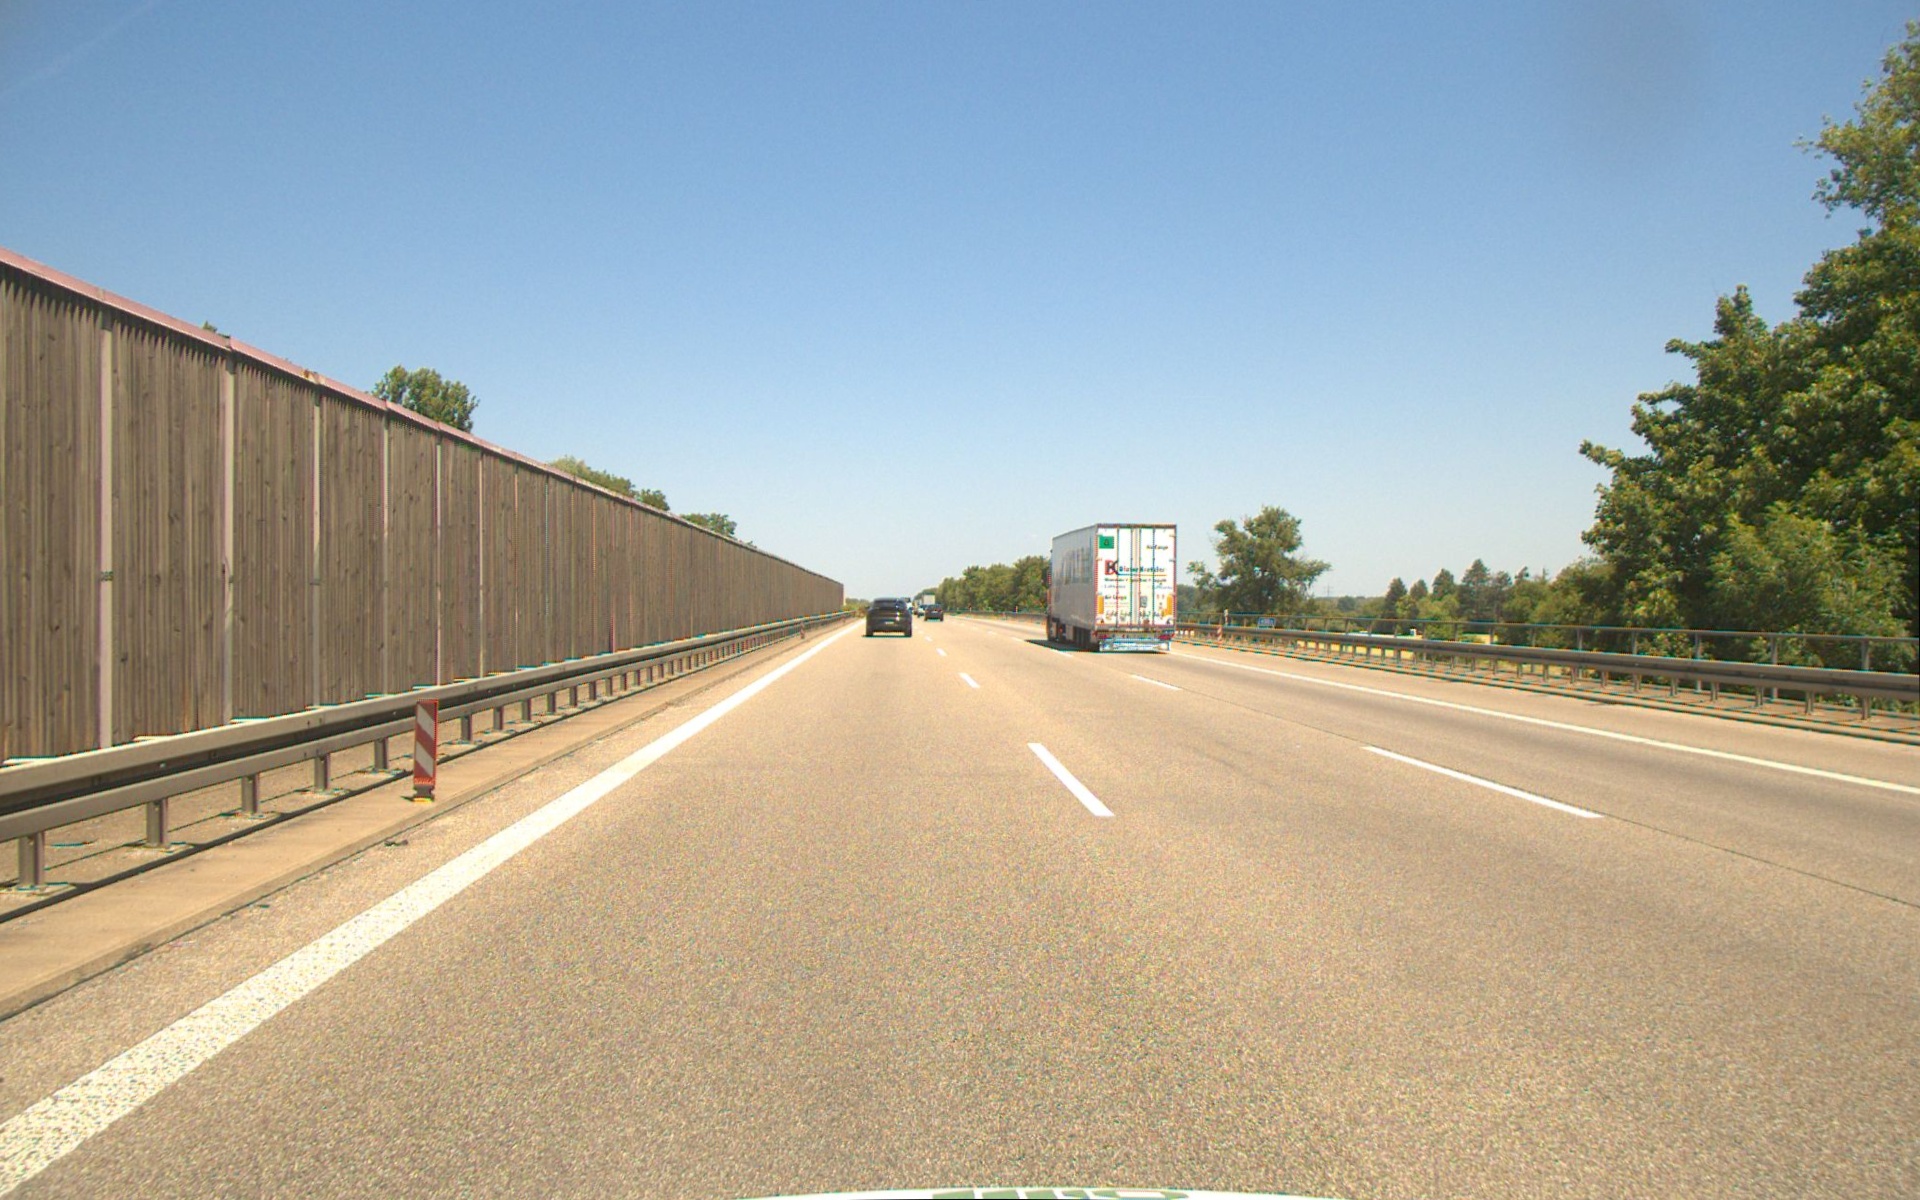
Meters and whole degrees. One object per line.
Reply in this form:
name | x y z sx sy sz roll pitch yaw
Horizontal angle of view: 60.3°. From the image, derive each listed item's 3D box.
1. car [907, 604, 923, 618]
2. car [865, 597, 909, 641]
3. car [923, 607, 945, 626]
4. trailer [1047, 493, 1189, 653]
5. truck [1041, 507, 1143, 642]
car | -5.419 1.351 196.972 1.865 1.612 4.302 0 -1 -2
car | -3.175 0.800 71.283 1.843 1.823 3.997 0 0 -4
car | -2.299 1.460 147.020 1.865 1.612 4.302 0 -1 -2
trailer | 5.282 -0.843 58.553 3.203 4.922 14.023 1 0 -2
truck | 5.082 -0.947 64.992 3.169 4.974 6.969 1 0 -2
